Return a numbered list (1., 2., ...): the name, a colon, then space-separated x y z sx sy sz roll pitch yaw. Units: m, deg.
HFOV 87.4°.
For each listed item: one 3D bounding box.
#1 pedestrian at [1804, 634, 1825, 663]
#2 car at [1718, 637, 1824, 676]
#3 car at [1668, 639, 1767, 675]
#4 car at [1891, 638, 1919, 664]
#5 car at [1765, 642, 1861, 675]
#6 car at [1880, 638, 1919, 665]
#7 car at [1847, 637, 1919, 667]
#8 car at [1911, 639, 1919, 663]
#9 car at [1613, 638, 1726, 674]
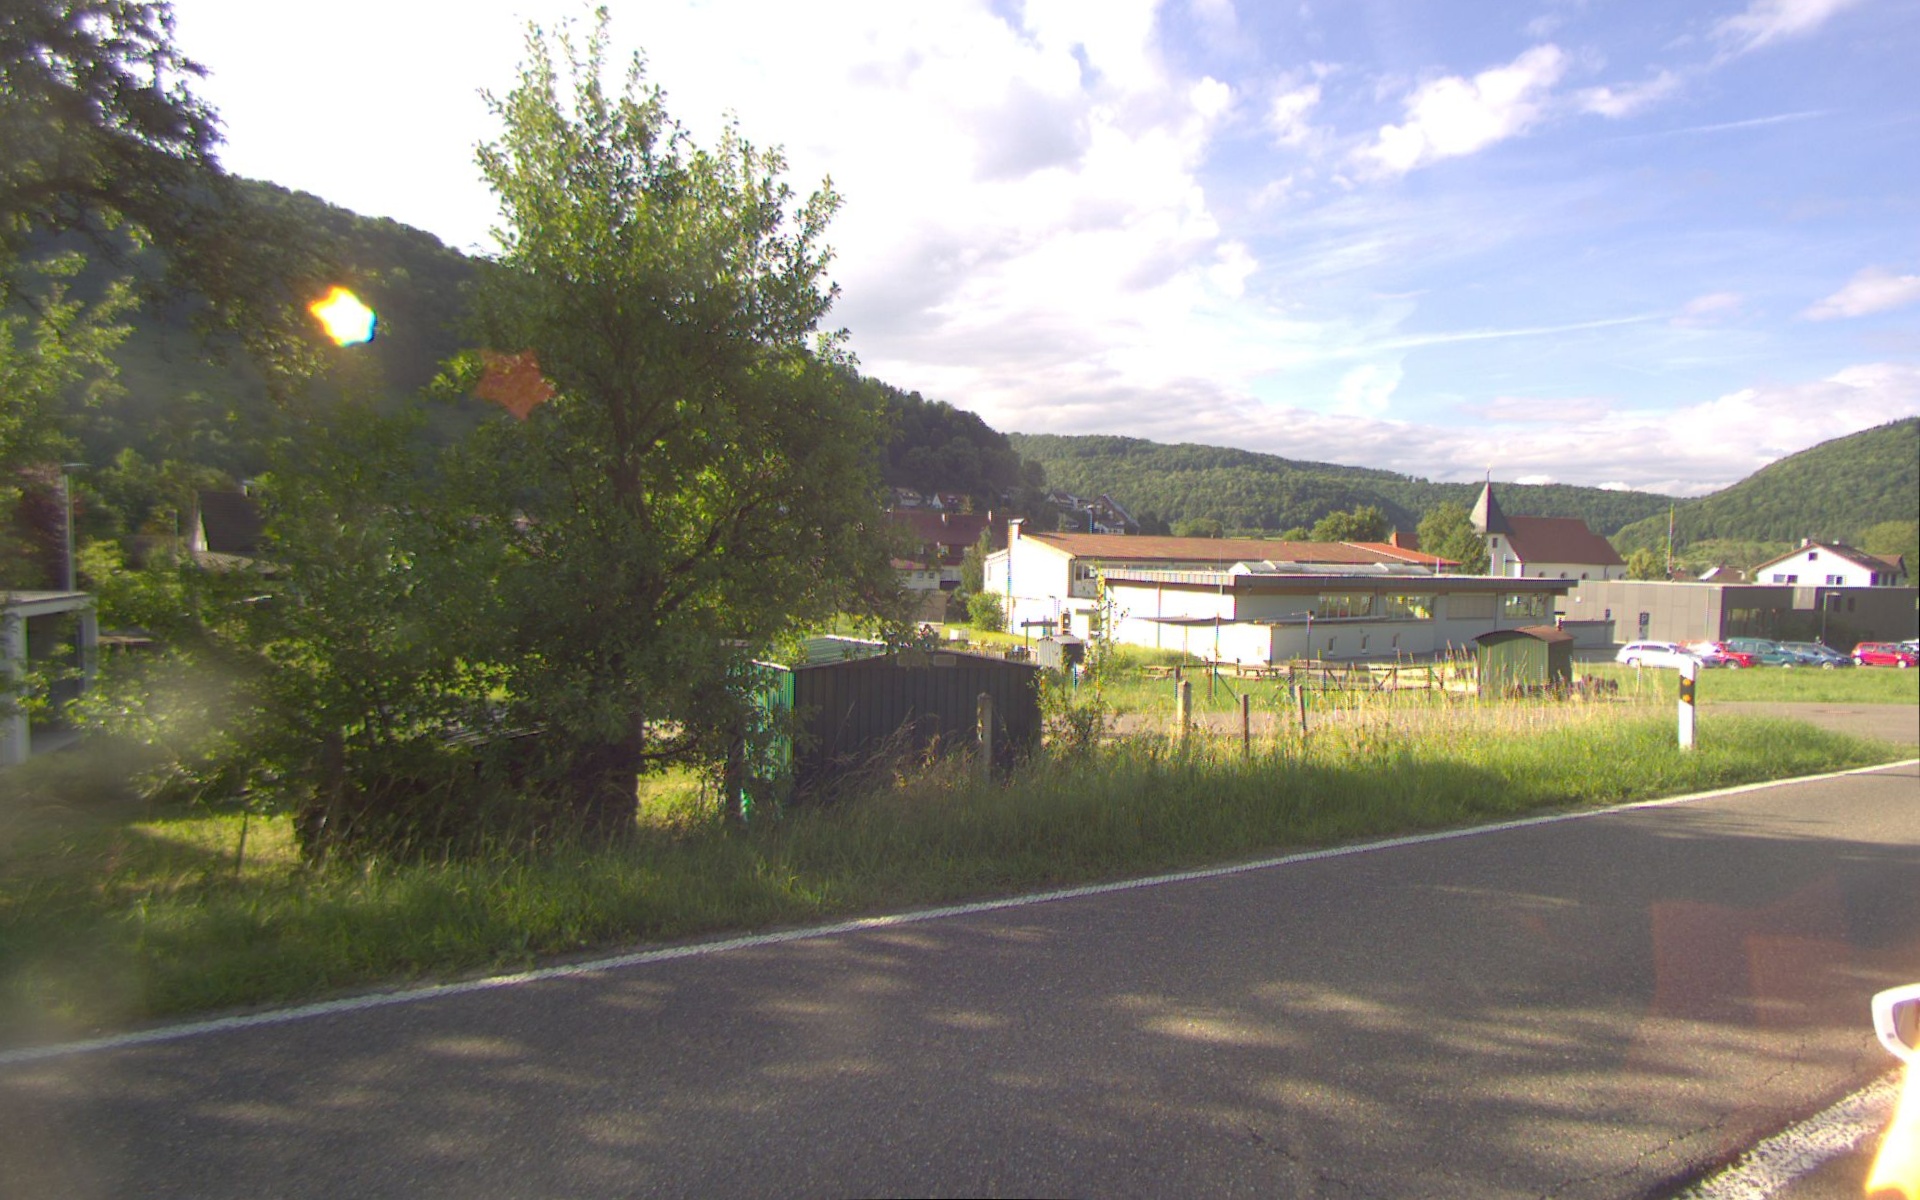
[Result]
1. pedestrian: 62.597 3.535 73.576 0.962 2.040 0.821 2 0 -30
2. car: 47.298 3.266 58.677 1.978 2.034 4.382 2 0 -32
3. car: 42.205 3.161 56.026 1.978 1.733 3.965 2 0 -32
4. car: 67.326 3.599 69.415 1.978 1.733 3.965 2 0 -32
5. car: 51.351 3.473 60.532 1.978 1.733 3.965 2 0 -32
6. car: 64.447 3.497 67.157 1.978 1.733 3.965 2 0 -32
7. car: 60.436 3.360 65.128 1.978 1.733 3.965 2 0 -32
8. car: 70.167 3.697 70.980 1.978 1.733 3.965 2 0 -32
9. car: 39.104 3.061 55.498 1.978 1.733 4.705 2 0 -32
